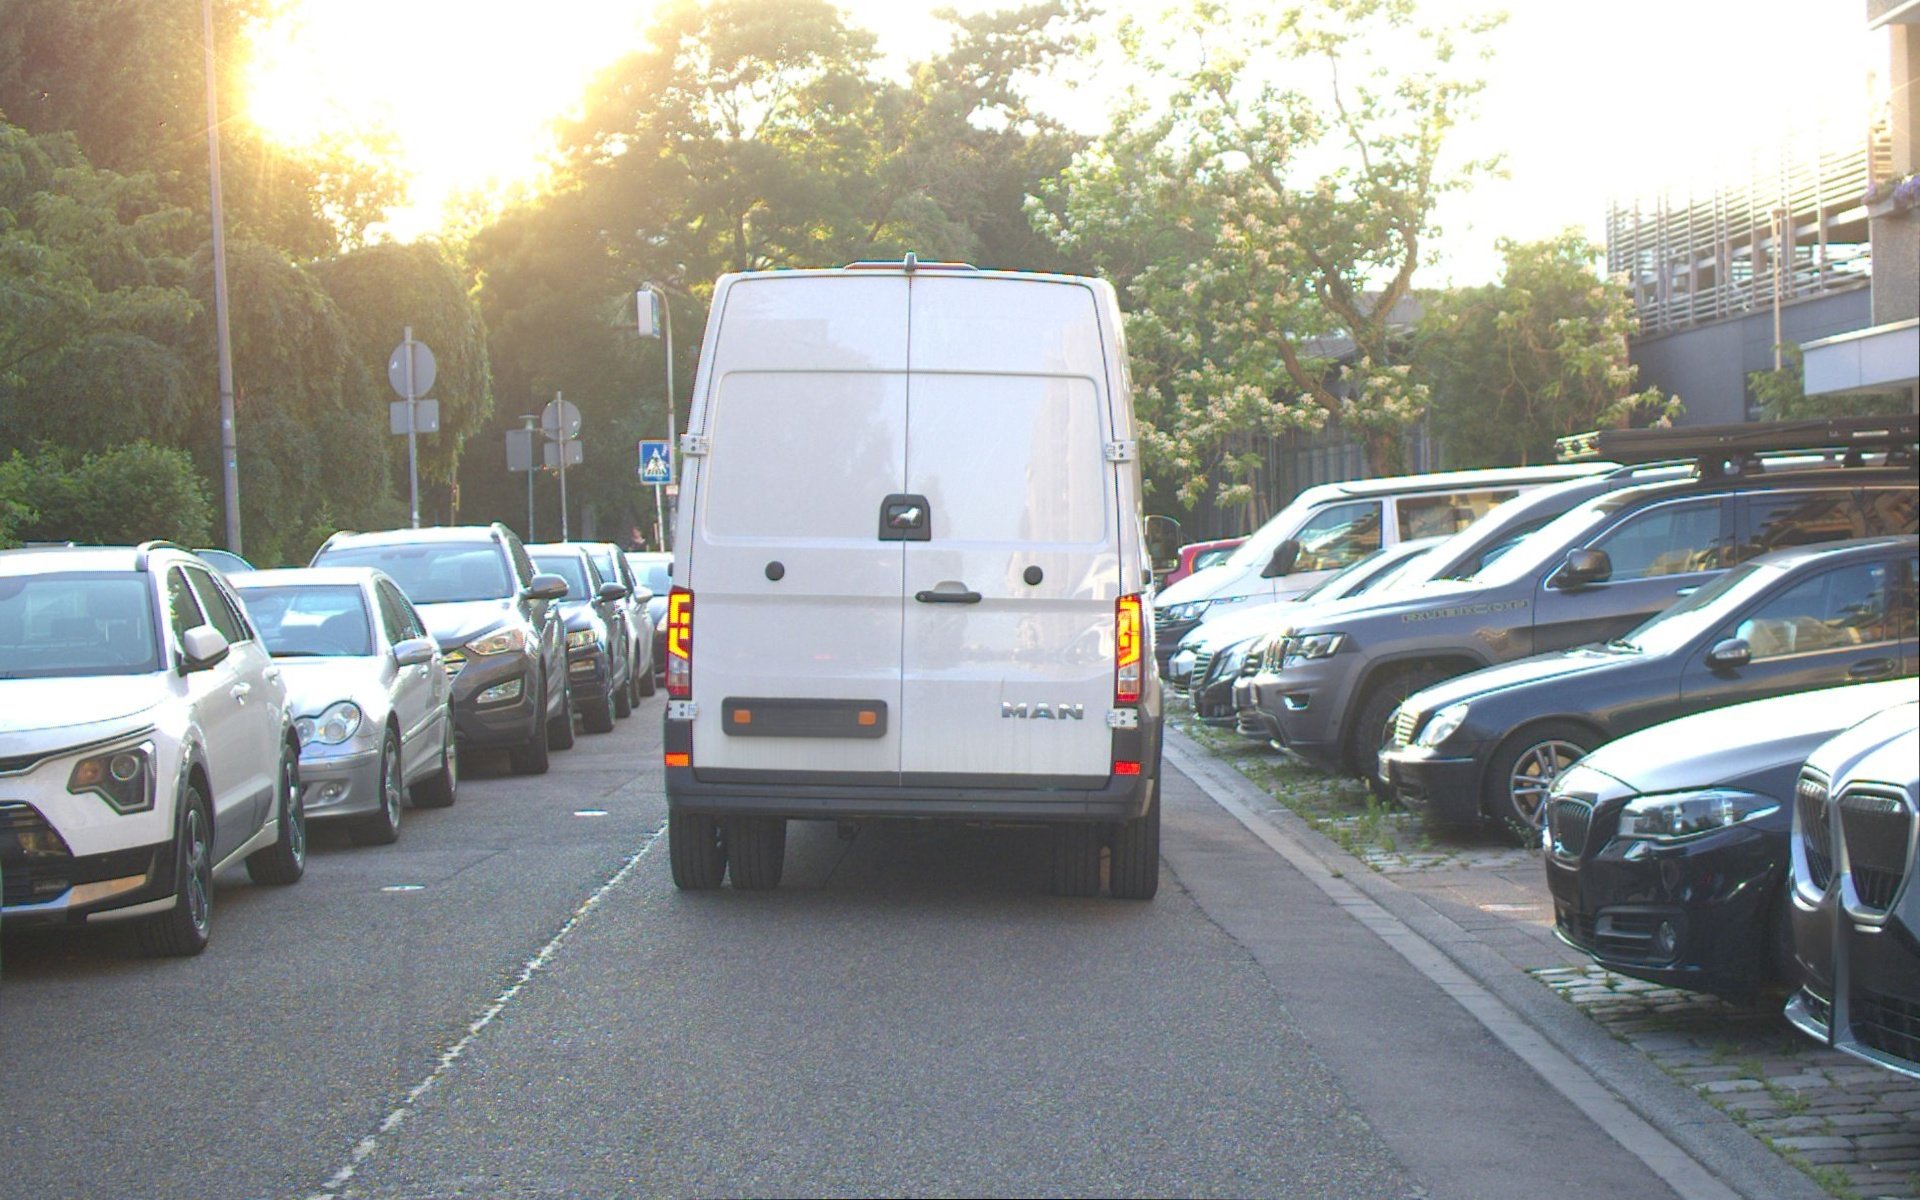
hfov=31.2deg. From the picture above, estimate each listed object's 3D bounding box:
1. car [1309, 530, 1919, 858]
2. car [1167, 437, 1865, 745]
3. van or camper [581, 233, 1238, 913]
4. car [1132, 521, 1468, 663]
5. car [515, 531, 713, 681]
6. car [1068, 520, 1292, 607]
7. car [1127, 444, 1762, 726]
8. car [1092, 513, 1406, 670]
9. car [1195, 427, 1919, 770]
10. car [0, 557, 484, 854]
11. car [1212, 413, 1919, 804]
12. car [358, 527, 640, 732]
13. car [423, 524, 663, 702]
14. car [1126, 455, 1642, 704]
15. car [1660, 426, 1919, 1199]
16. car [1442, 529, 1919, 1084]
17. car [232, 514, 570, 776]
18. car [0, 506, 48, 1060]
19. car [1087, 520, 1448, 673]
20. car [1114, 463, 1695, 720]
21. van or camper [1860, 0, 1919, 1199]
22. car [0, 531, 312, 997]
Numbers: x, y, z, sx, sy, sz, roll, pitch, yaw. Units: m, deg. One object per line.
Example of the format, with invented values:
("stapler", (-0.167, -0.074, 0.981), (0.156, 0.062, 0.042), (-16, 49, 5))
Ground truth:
("car", (3.997, 0.406, 17.240), (4.236, 1.420, 1.719), (-3, 1, -1))
("car", (3.942, -0.089, 24.985), (4.705, 2.138, 2.000), (0, 1, -2))
("van or camper", (-0.085, -0.168, 16.066), (2.454, 2.538, 6.083), (1, 1, 2))
("car", (4.180, -0.112, 42.760), (3.987, 1.722, 2.000), (0, 1, 0))
("car", (-3.876, 0.020, 39.090), (1.993, 1.612, 4.001), (0, 1, -2))
("car", (4.134, -0.709, 65.030), (3.986, 1.612, 2.000), (0, 1, -4))
("car", (3.749, -0.140, 27.217), (4.705, 2.138, 2.000), (0, 1, -2))
("car", (3.743, -0.131, 45.080), (3.987, 2.007, 2.000), (0, 1, 1))
("car", (3.987, -0.037, 22.559), (4.705, 2.138, 2.000), (0, 1, -2))
("car", (-3.813, 0.482, 18.554), (1.993, 1.393, 4.000), (0, 1, -1))
("car", (3.909, 0.020, 19.888), (4.705, 2.138, 2.000), (0, 1, -2))
("car", (-3.811, 0.191, 29.059), (1.993, 1.612, 4.001), (0, 1, -2))
("car", (-3.975, 0.075, 33.370), (1.993, 1.612, 4.001), (0, 1, -2))
("car", (3.851, -0.205, 31.848), (4.495, 2.223, 2.032), (0, 1, -1))
("car", (4.100, 0.407, 8.074), (4.433, 1.722, 1.773), (-2, 1, -7))
("car", (3.695, 0.480, 10.638), (3.986, 1.449, 1.836), (-4, 1, -4))
("car", (-3.778, 0.240, 23.851), (1.993, 1.656, 4.001), (0, 1, -5))
("car", (-3.781, 0.615, 8.563), (1.783, 1.625, 4.000), (-3, 1, 1))
("car", (3.499, -0.058, 39.720), (3.987, 1.722, 2.000), (0, 1, 0))
("car", (3.756, -0.096, 29.664), (4.705, 2.138, 2.000), (0, 1, -2))
("van or camper", (3.951, 0.030, 2.676), (5.928, 2.760, 2.110), (0, 1, -1))
("car", (-3.794, 0.541, 13.592), (1.856, 1.549, 4.100), (-3, 1, -3))
